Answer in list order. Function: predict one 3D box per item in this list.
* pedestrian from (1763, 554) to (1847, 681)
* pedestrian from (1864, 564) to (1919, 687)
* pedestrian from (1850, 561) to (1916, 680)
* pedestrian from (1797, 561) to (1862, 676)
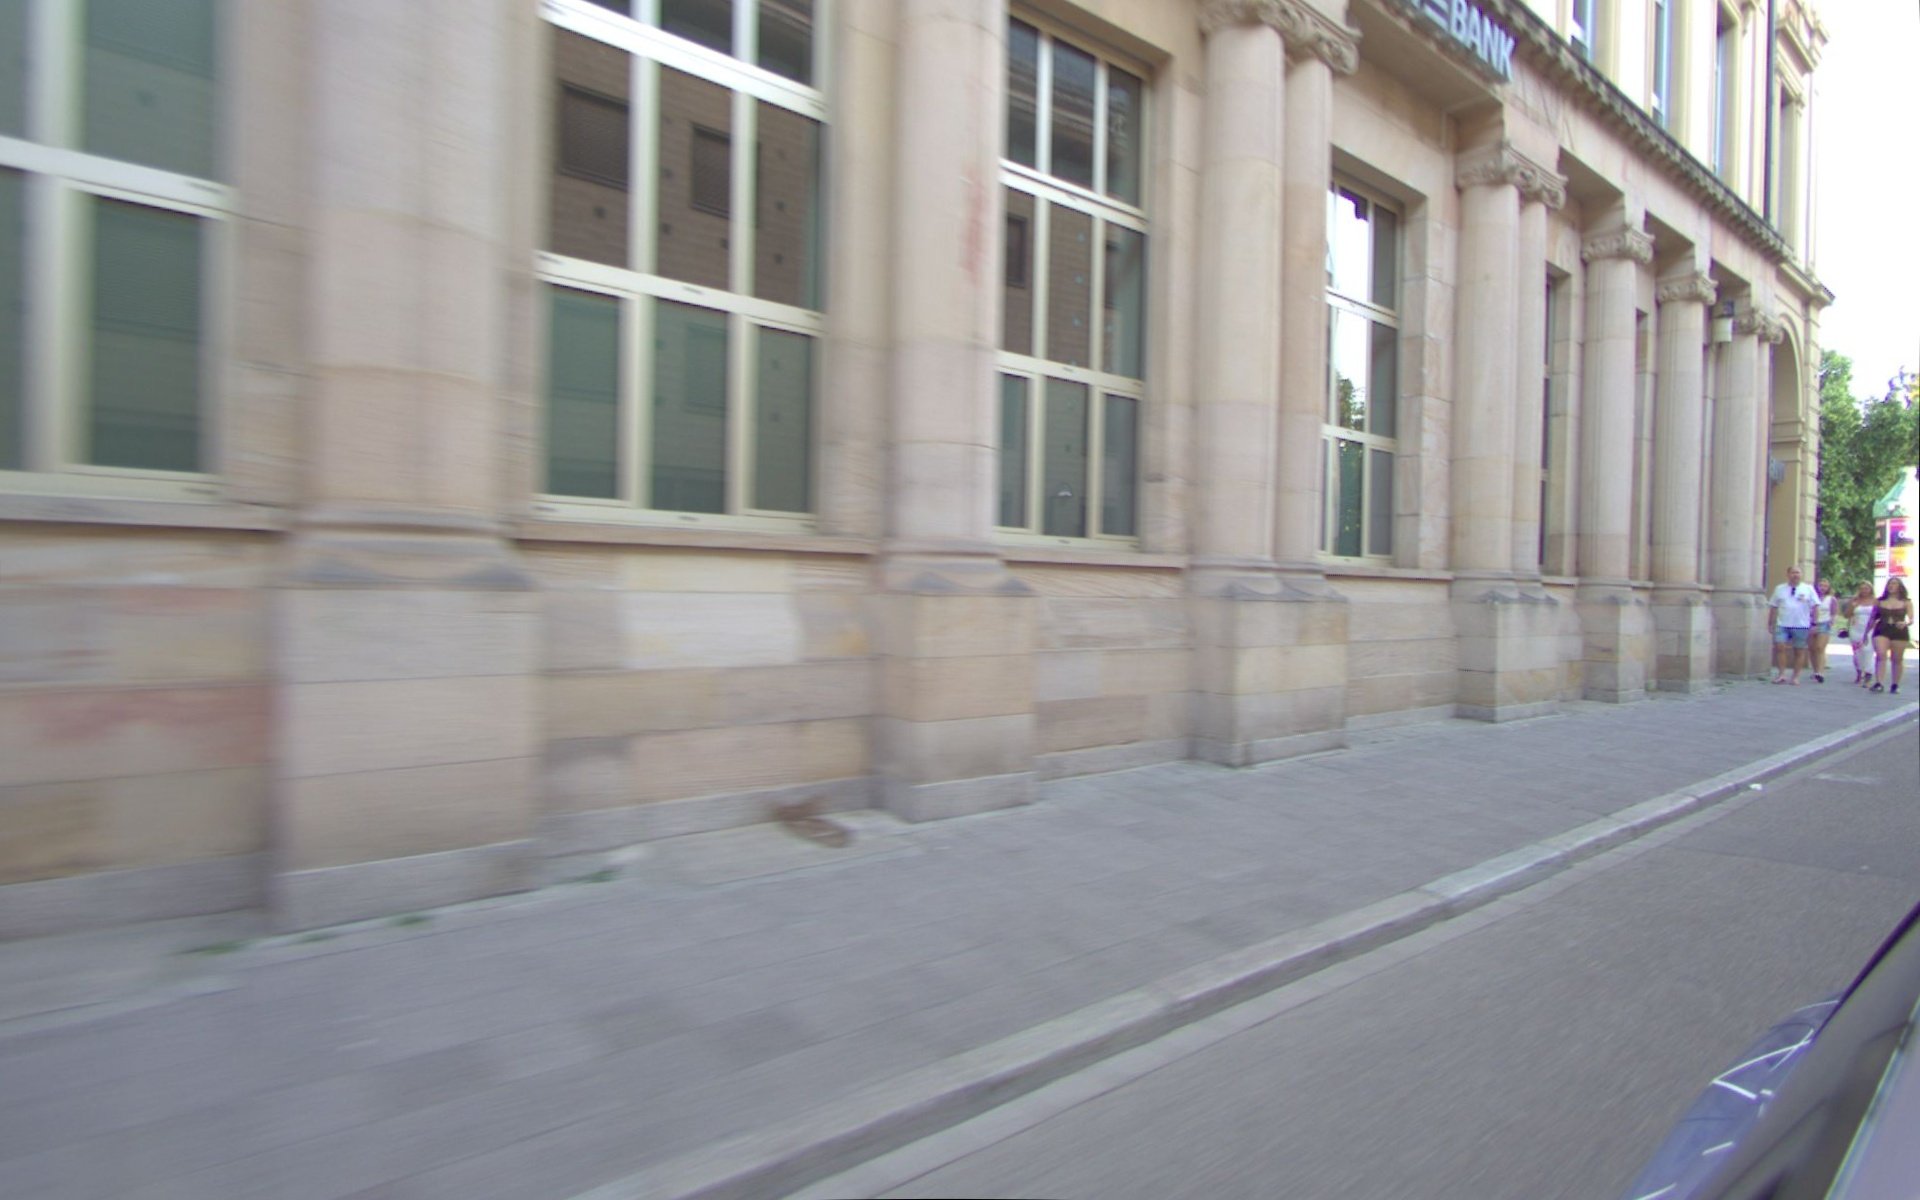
[{"bbox_3d":[13.153,0.248,15.756,0.859,1.898,0.814,0,1,-39],"label":"pedestrian"},{"bbox_3d":[14.093,0.362,15.077,0.859,1.768,0.777,0,1,-39],"label":"pedestrian"},{"bbox_3d":[14.674,0.305,16.091,0.758,1.825,0.638,0,1,-40],"label":"pedestrian"},{"bbox_3d":[14.256,0.290,16.592,0.758,1.825,0.638,0,1,-40],"label":"pedestrian"}]
